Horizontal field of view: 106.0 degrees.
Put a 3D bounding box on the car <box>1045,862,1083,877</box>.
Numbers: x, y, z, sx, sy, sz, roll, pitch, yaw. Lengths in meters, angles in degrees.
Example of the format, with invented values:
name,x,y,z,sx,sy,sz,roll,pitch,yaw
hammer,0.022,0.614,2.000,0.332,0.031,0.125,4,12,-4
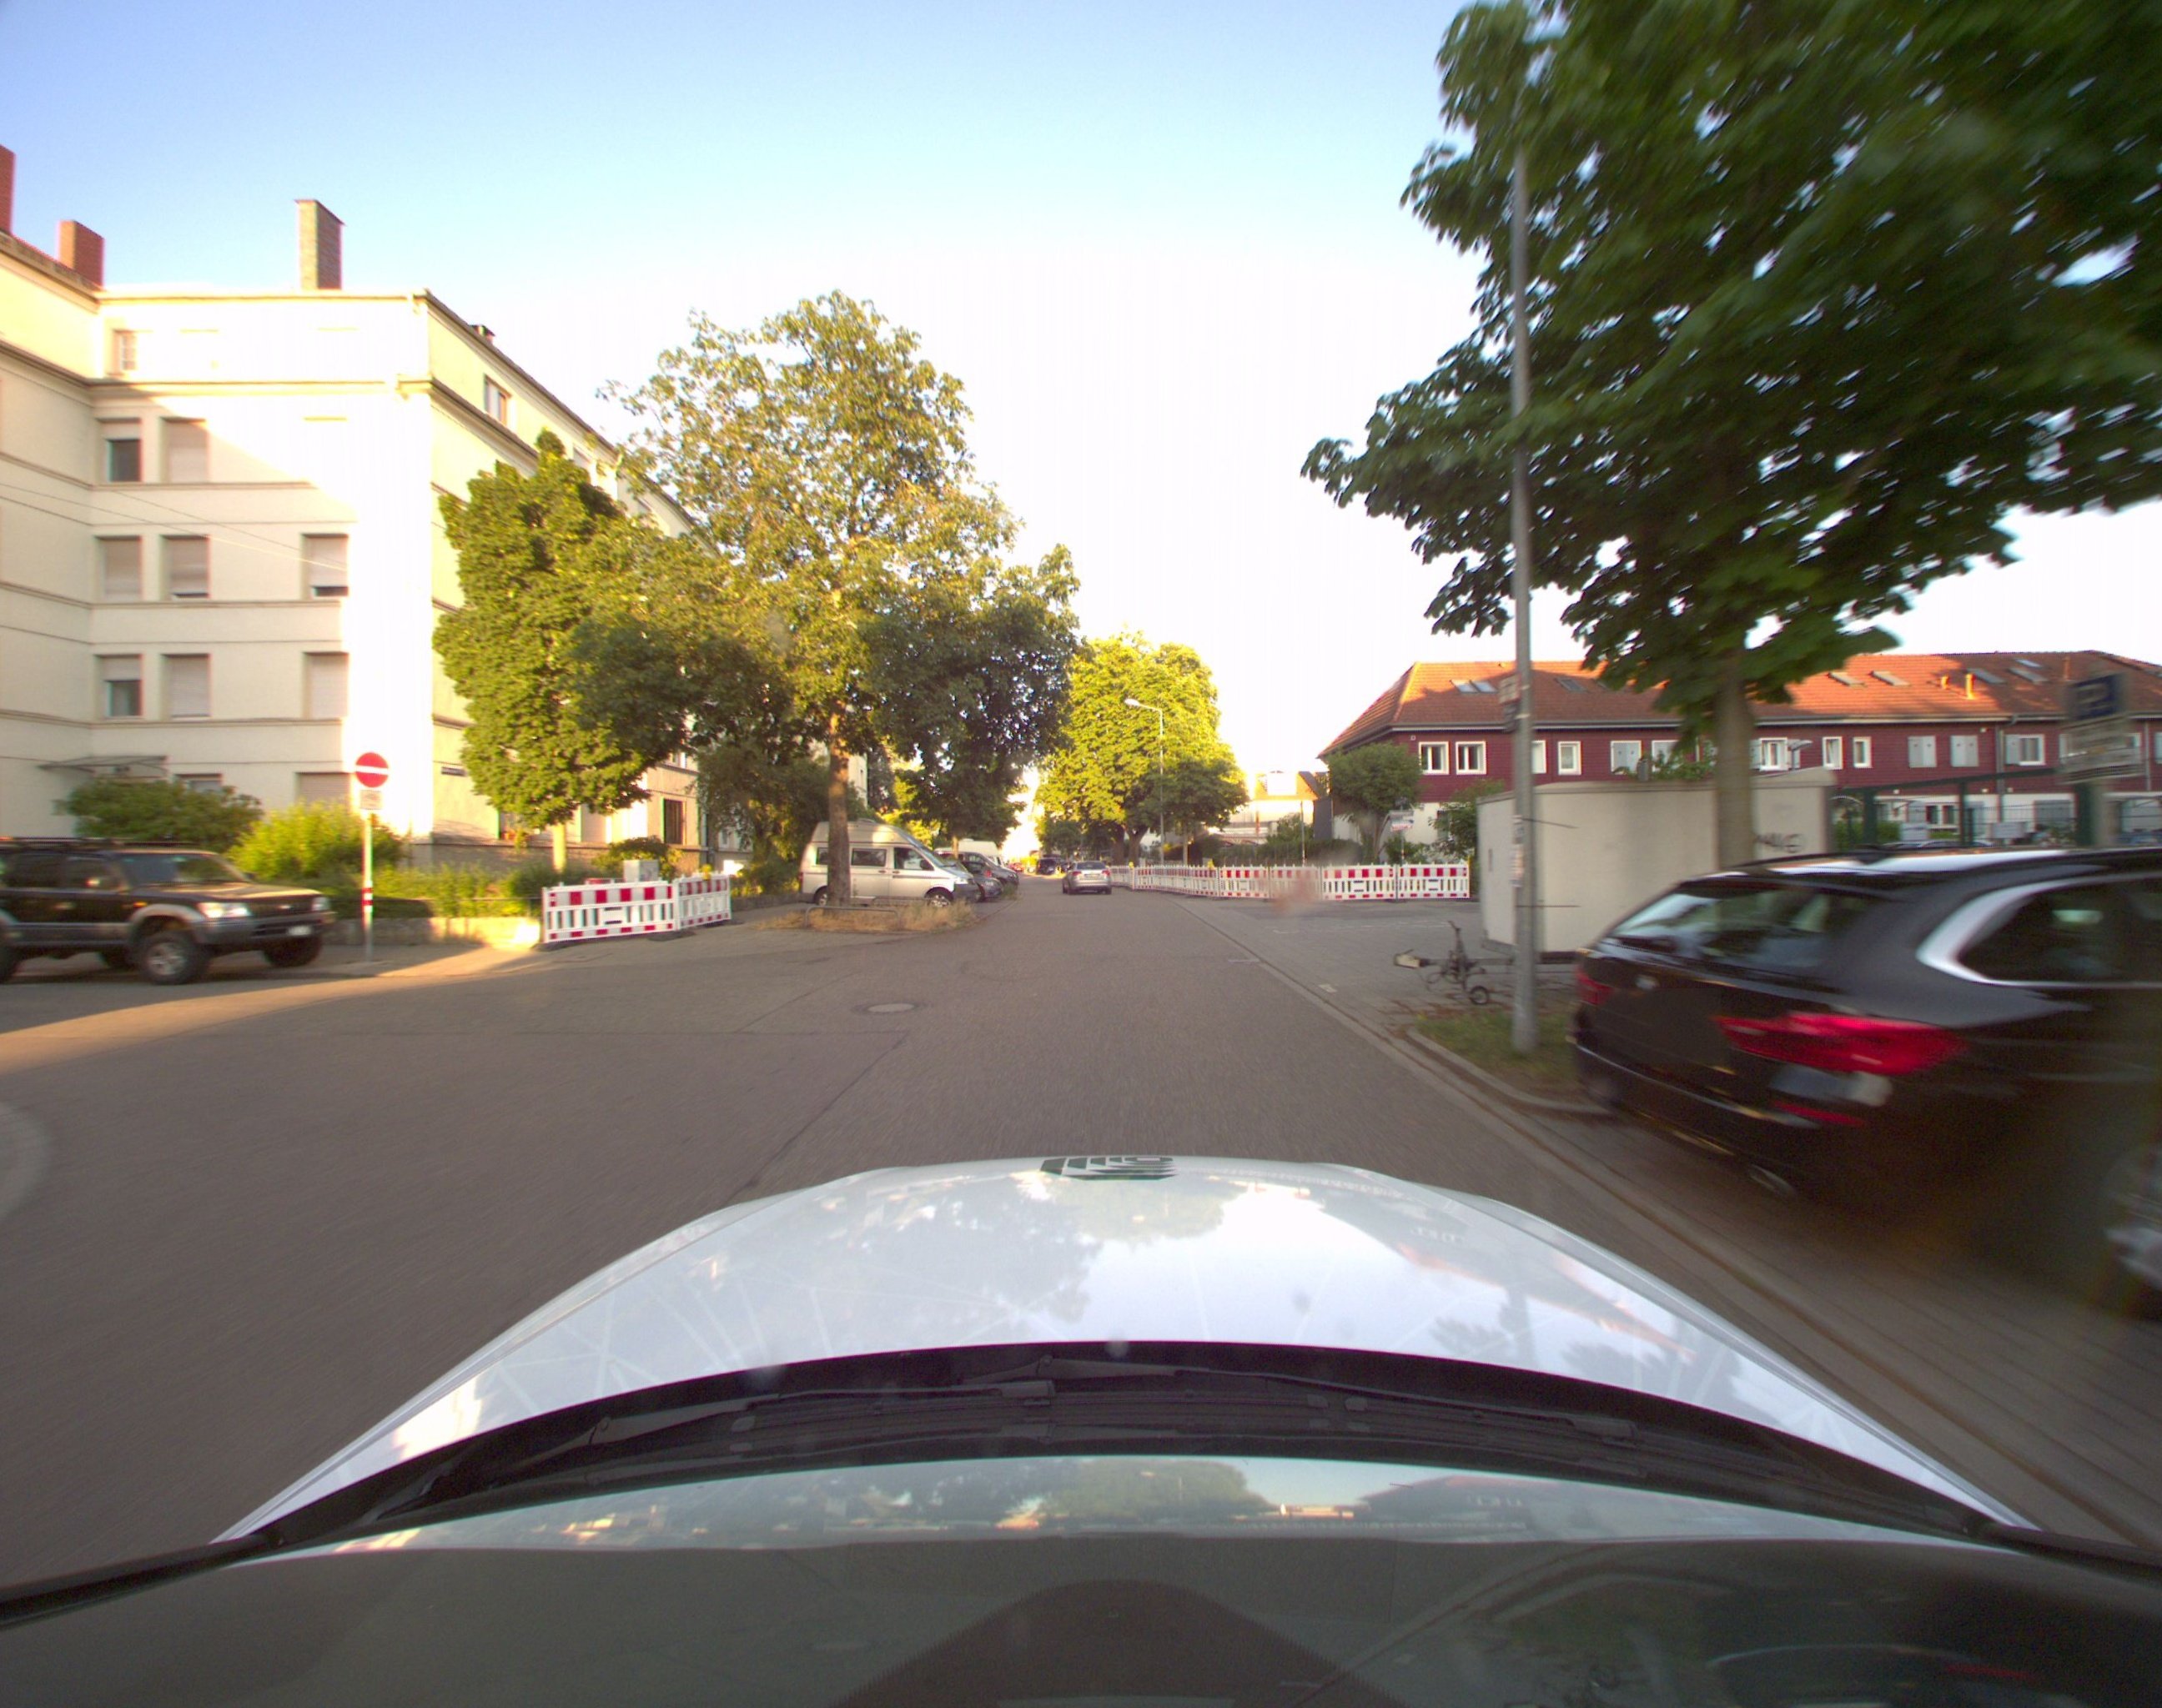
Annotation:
name,x,y,z,sx,sy,sz,roll,pitch,yaw
car,-1.919,1.789,93.250,3.997,1.651,1.754,0,-1,-18

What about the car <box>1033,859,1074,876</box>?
name,x,y,z,sx,sy,sz,roll,pitch,yaw
car,-3.294,1.644,97.909,4.565,2.023,2.090,0,-1,-16

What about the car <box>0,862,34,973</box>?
name,x,y,z,sx,sy,sz,roll,pitch,yaw
car,-19.210,1.025,12.367,3.974,1.781,2.000,-1,-1,0

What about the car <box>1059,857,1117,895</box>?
name,x,y,z,sx,sy,sz,roll,pitch,yaw
car,0.213,0.941,34.425,1.807,1.488,3.987,-1,-2,-9

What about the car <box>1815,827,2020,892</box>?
name,x,y,z,sx,sy,sz,roll,pitch,yaw
car,24.316,0.162,23.797,3.975,1.768,1.999,-1,-1,-1

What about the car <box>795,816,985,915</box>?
name,x,y,z,sx,sy,sz,roll,pitch,yaw
car,-5.195,0.321,22.598,4.713,2.569,2.001,-1,-1,2

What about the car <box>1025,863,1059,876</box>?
name,x,y,z,sx,sy,sz,roll,pitch,yaw
car,-5.214,2.051,107.868,4.160,1.572,1.787,0,-1,-18

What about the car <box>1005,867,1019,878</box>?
name,x,y,z,sx,sy,sz,roll,pitch,yaw
car,-10.216,2.689,120.651,1.665,1.573,3.427,0,-1,-11

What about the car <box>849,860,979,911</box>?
name,x,y,z,sx,sy,sz,roll,pitch,yaw
car,-5.285,0.990,26.097,3.792,1.523,1.651,1,-1,-1

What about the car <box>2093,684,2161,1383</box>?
name,x,y,z,sx,sy,sz,roll,pitch,yaw
car,4.881,0.433,1.203,4.284,1.799,1.905,-1,-1,2

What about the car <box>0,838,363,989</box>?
name,x,y,z,sx,sy,sz,roll,pitch,yaw
car,-13.781,0.824,12.032,4.560,2.014,2.001,-1,-1,1

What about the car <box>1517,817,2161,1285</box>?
name,x,y,z,sx,sy,sz,roll,pitch,yaw
car,4.544,0.630,3.473,4.410,1.499,1.774,-1,-1,2

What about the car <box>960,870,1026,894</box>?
name,x,y,z,sx,sy,sz,roll,pitch,yaw
car,-6.143,1.922,56.757,4.408,1.615,1.893,0,-1,-11

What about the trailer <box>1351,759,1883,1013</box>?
name,x,y,z,sx,sy,sz,roll,pitch,yaw
trailer,5.007,0.296,8.141,3.971,2.187,2.001,-1,-1,2

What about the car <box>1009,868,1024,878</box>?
name,x,y,z,sx,sy,sz,roll,pitch,yaw
car,-9.116,2.674,115.145,1.731,1.484,3.543,0,-1,-11

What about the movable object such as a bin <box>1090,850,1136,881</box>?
name,x,y,z,sx,sy,sz,roll,pitch,yaw
movable object such as a bin,2.546,0.918,66.777,2.630,2.403,5.176,0,-1,-12

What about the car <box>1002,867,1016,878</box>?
name,x,y,z,sx,sy,sz,roll,pitch,yaw
car,-11.105,2.787,125.432,1.810,1.613,3.566,0,-1,-11

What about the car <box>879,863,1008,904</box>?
name,x,y,z,sx,sy,sz,roll,pitch,yaw
car,-4.767,1.011,28.623,4.229,1.394,1.684,0,-1,1

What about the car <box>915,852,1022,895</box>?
name,x,y,z,sx,sy,sz,roll,pitch,yaw
car,-4.993,0.860,36.660,4.666,1.874,1.996,-1,-1,-5

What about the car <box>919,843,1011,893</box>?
name,x,y,z,sx,sy,sz,roll,pitch,yaw
car,-5.875,0.697,41.768,4.495,2.431,1.996,-1,-1,-5

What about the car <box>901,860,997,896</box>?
name,x,y,z,sx,sy,sz,roll,pitch,yaw
car,-5.456,0.990,33.977,3.761,1.439,1.653,0,-2,-4
